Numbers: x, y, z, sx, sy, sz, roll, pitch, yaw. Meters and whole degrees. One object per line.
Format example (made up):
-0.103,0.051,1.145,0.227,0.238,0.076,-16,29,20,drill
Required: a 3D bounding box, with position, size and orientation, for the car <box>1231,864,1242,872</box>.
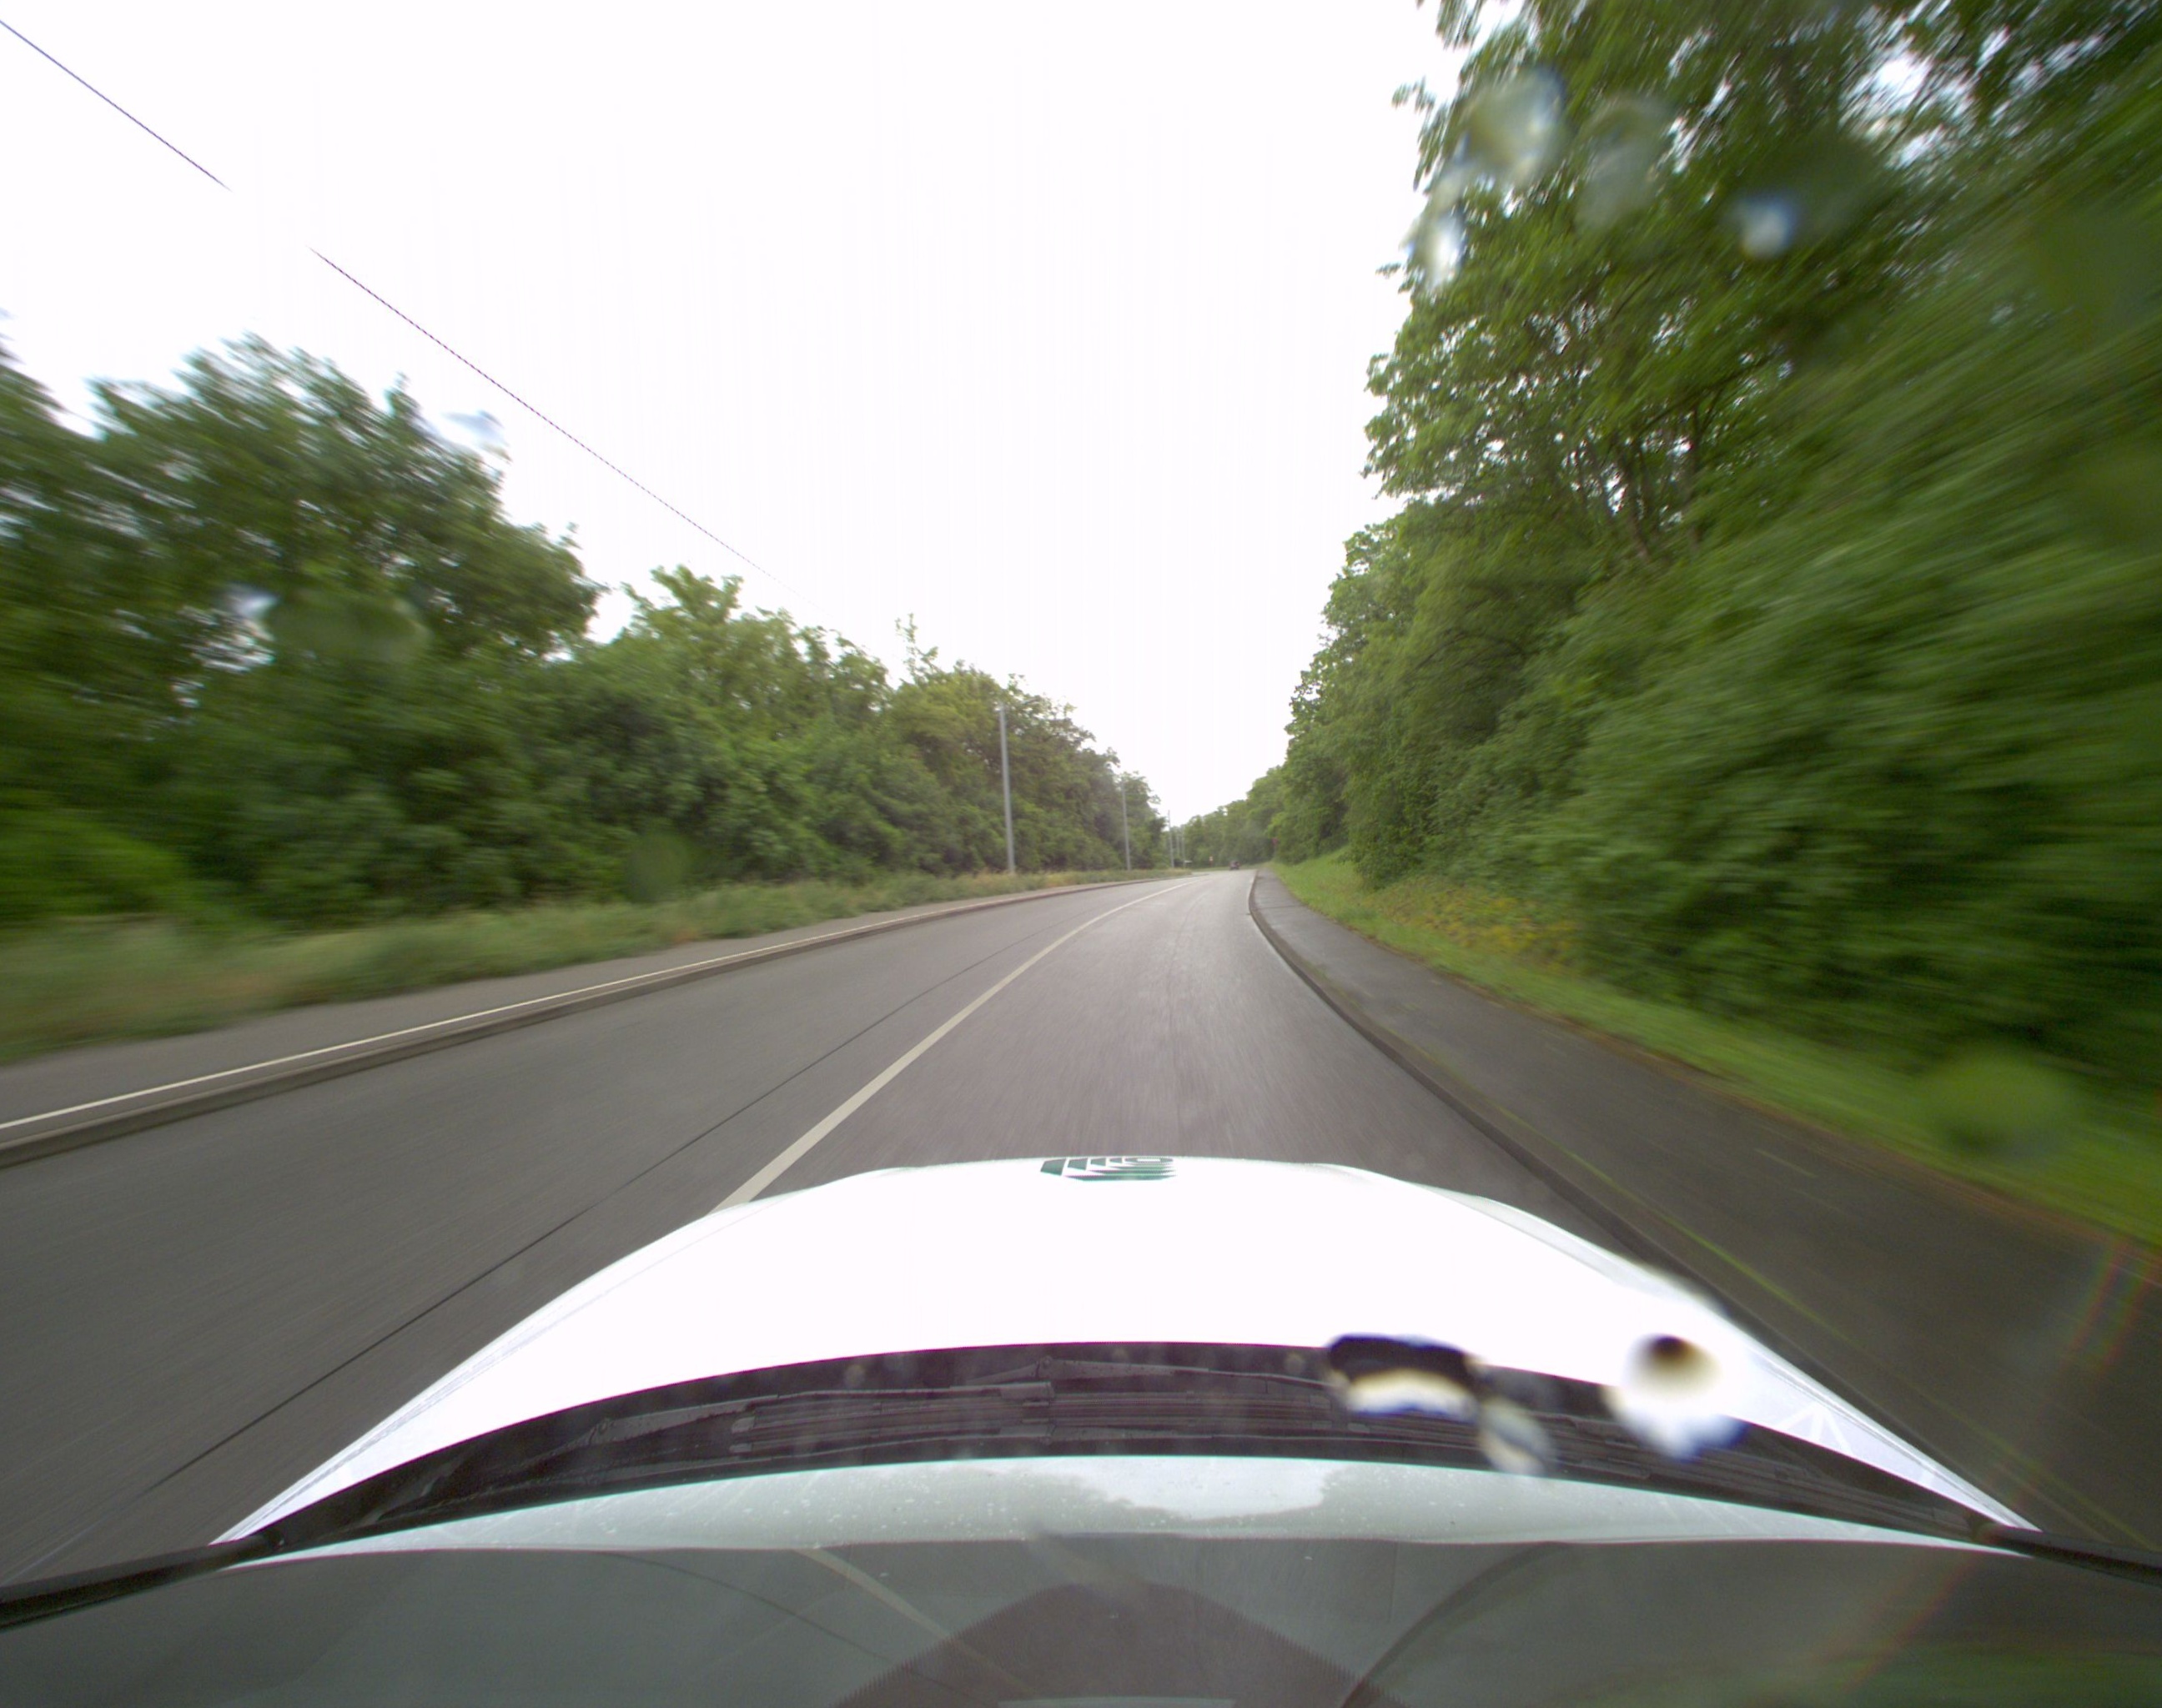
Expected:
30.249,2.712,158.463,1.858,1.596,4.005,0,-2,5,car
